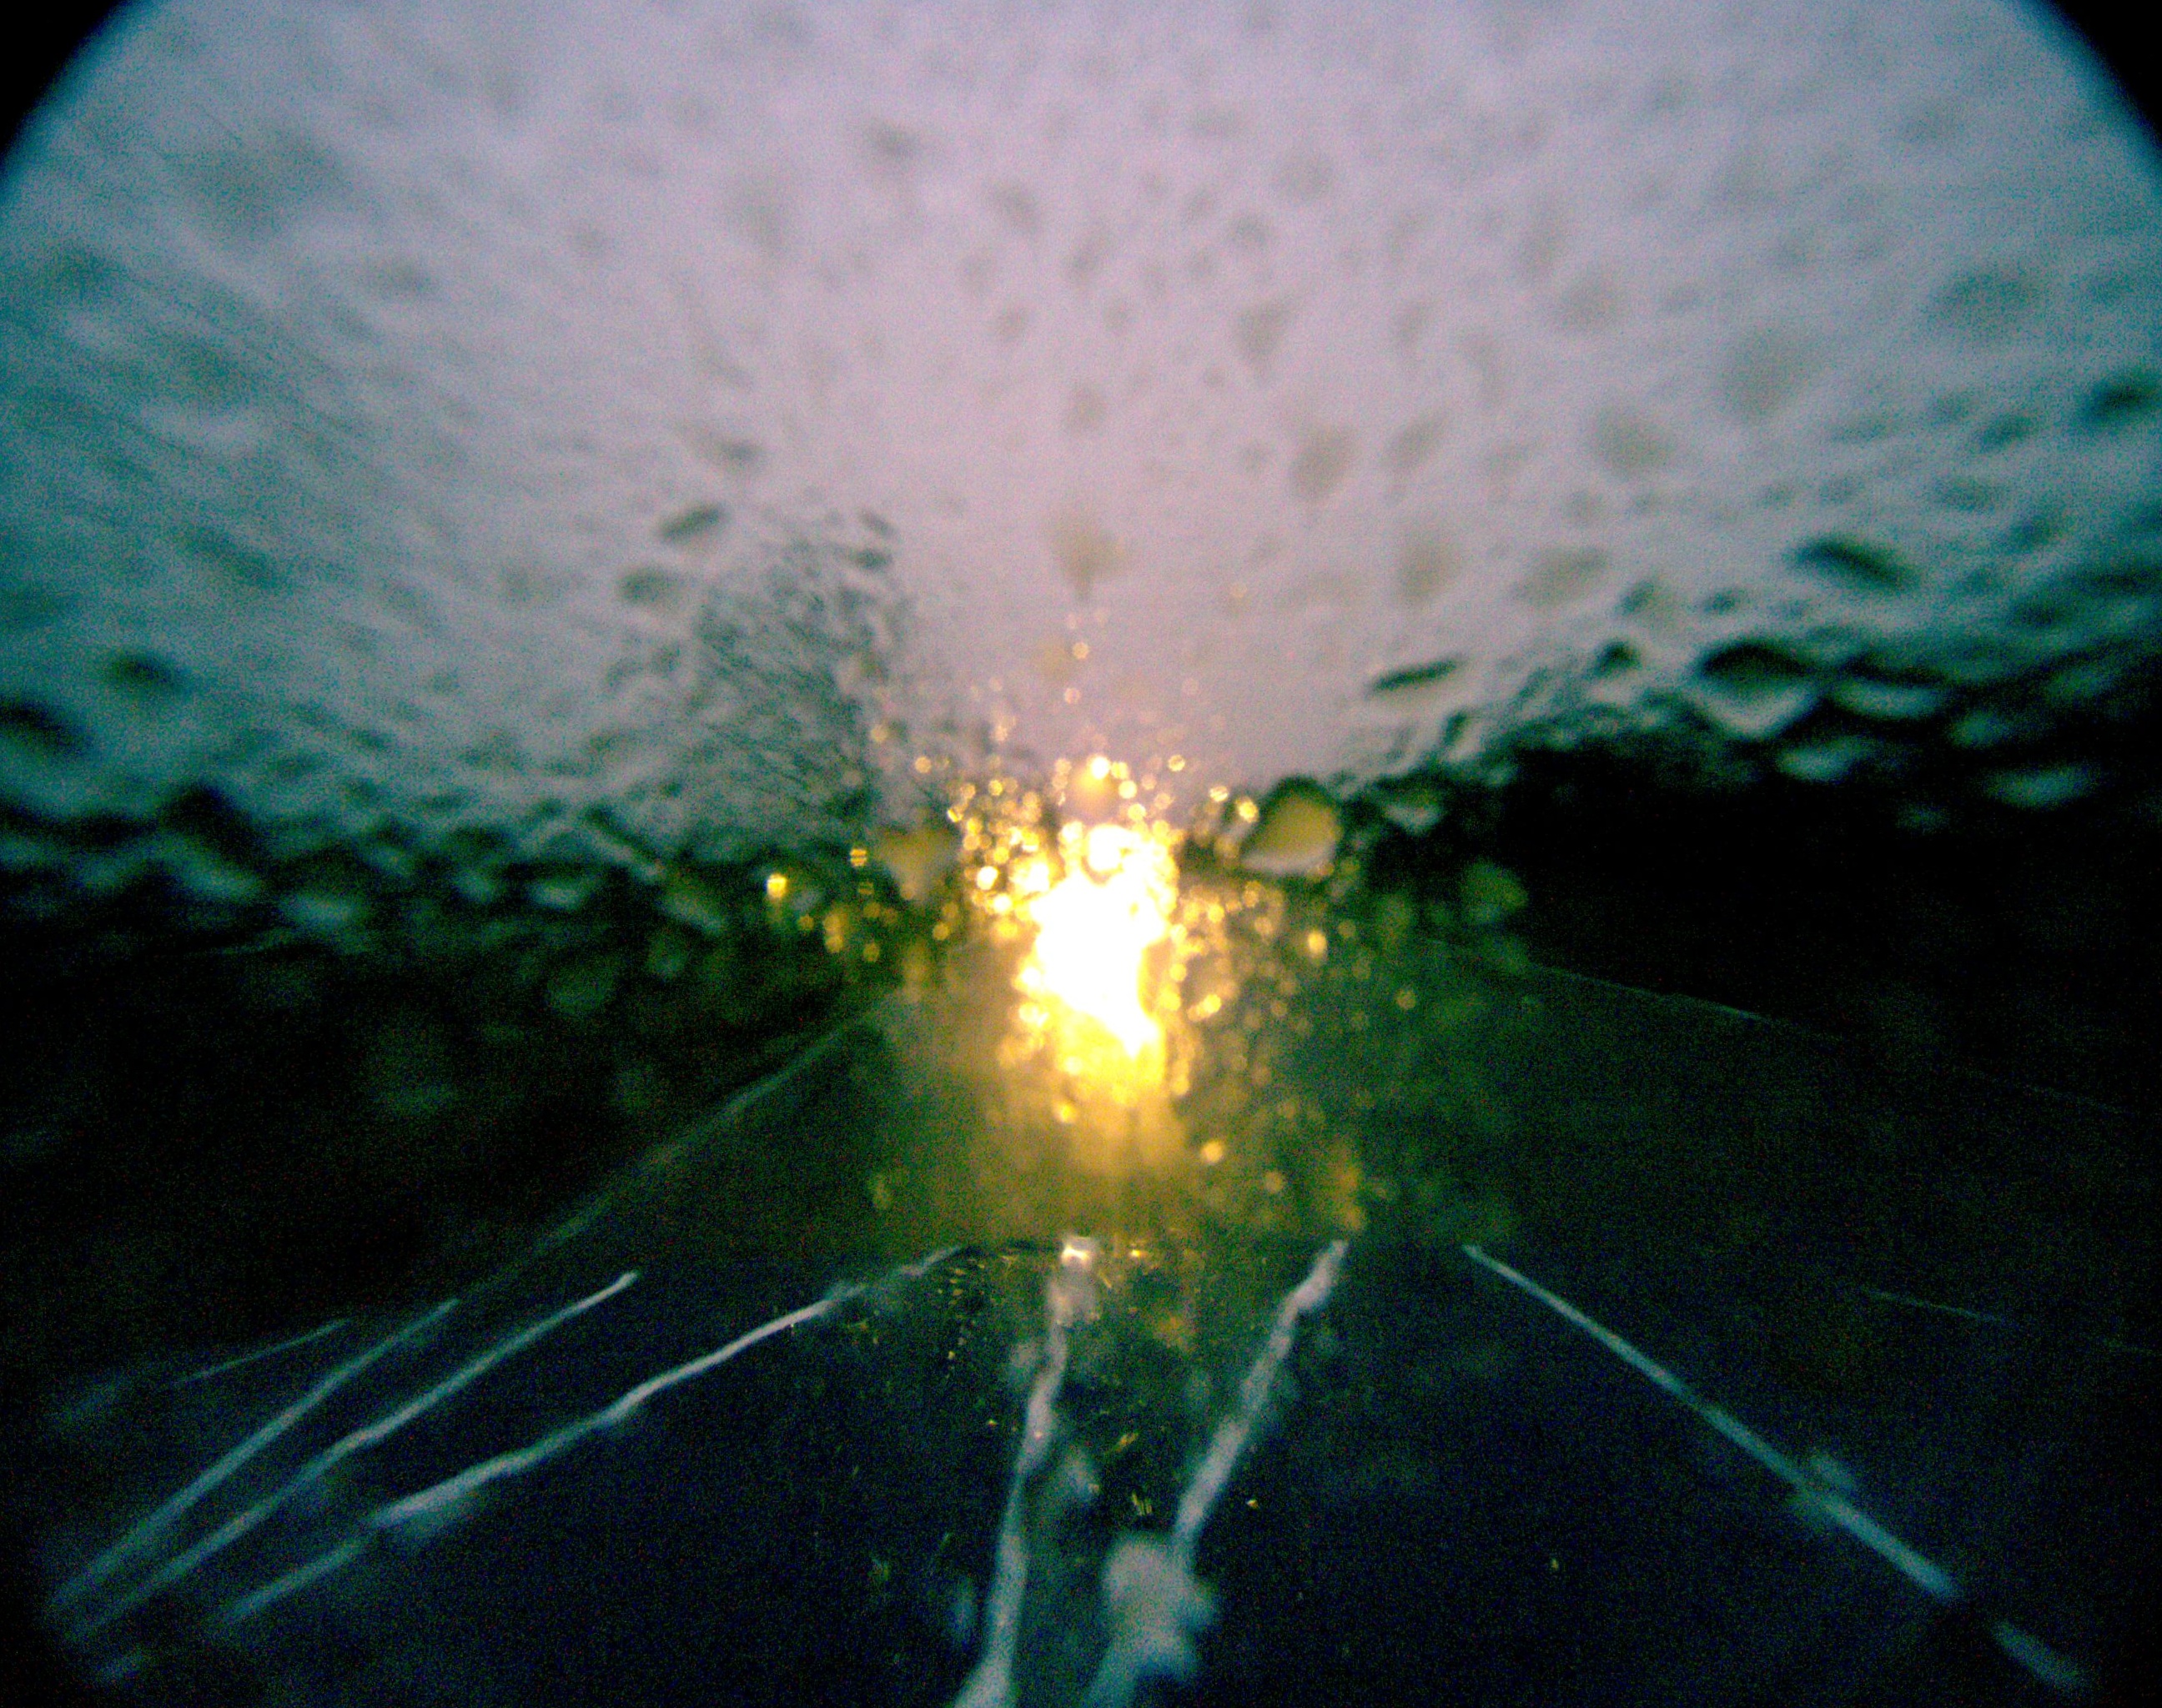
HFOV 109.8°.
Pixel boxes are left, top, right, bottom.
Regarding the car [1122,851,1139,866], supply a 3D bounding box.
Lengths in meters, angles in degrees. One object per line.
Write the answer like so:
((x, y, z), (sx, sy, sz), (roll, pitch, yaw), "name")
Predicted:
((5.768, 0.516, 89.680), (1.763, 1.631, 4.686), (-3, 0, 2), "car")

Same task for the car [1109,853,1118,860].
((6.913, 0.464, 162.049), (1.755, 1.465, 3.891), (-2, 0, 1), "car")

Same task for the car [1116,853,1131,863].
((6.247, 0.579, 112.029), (1.830, 1.490, 4.095), (-2, 0, 0), "car")

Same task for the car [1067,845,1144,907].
((0.825, 0.580, 22.563), (1.998, 1.601, 4.001), (-2, 0, 5), "car")
